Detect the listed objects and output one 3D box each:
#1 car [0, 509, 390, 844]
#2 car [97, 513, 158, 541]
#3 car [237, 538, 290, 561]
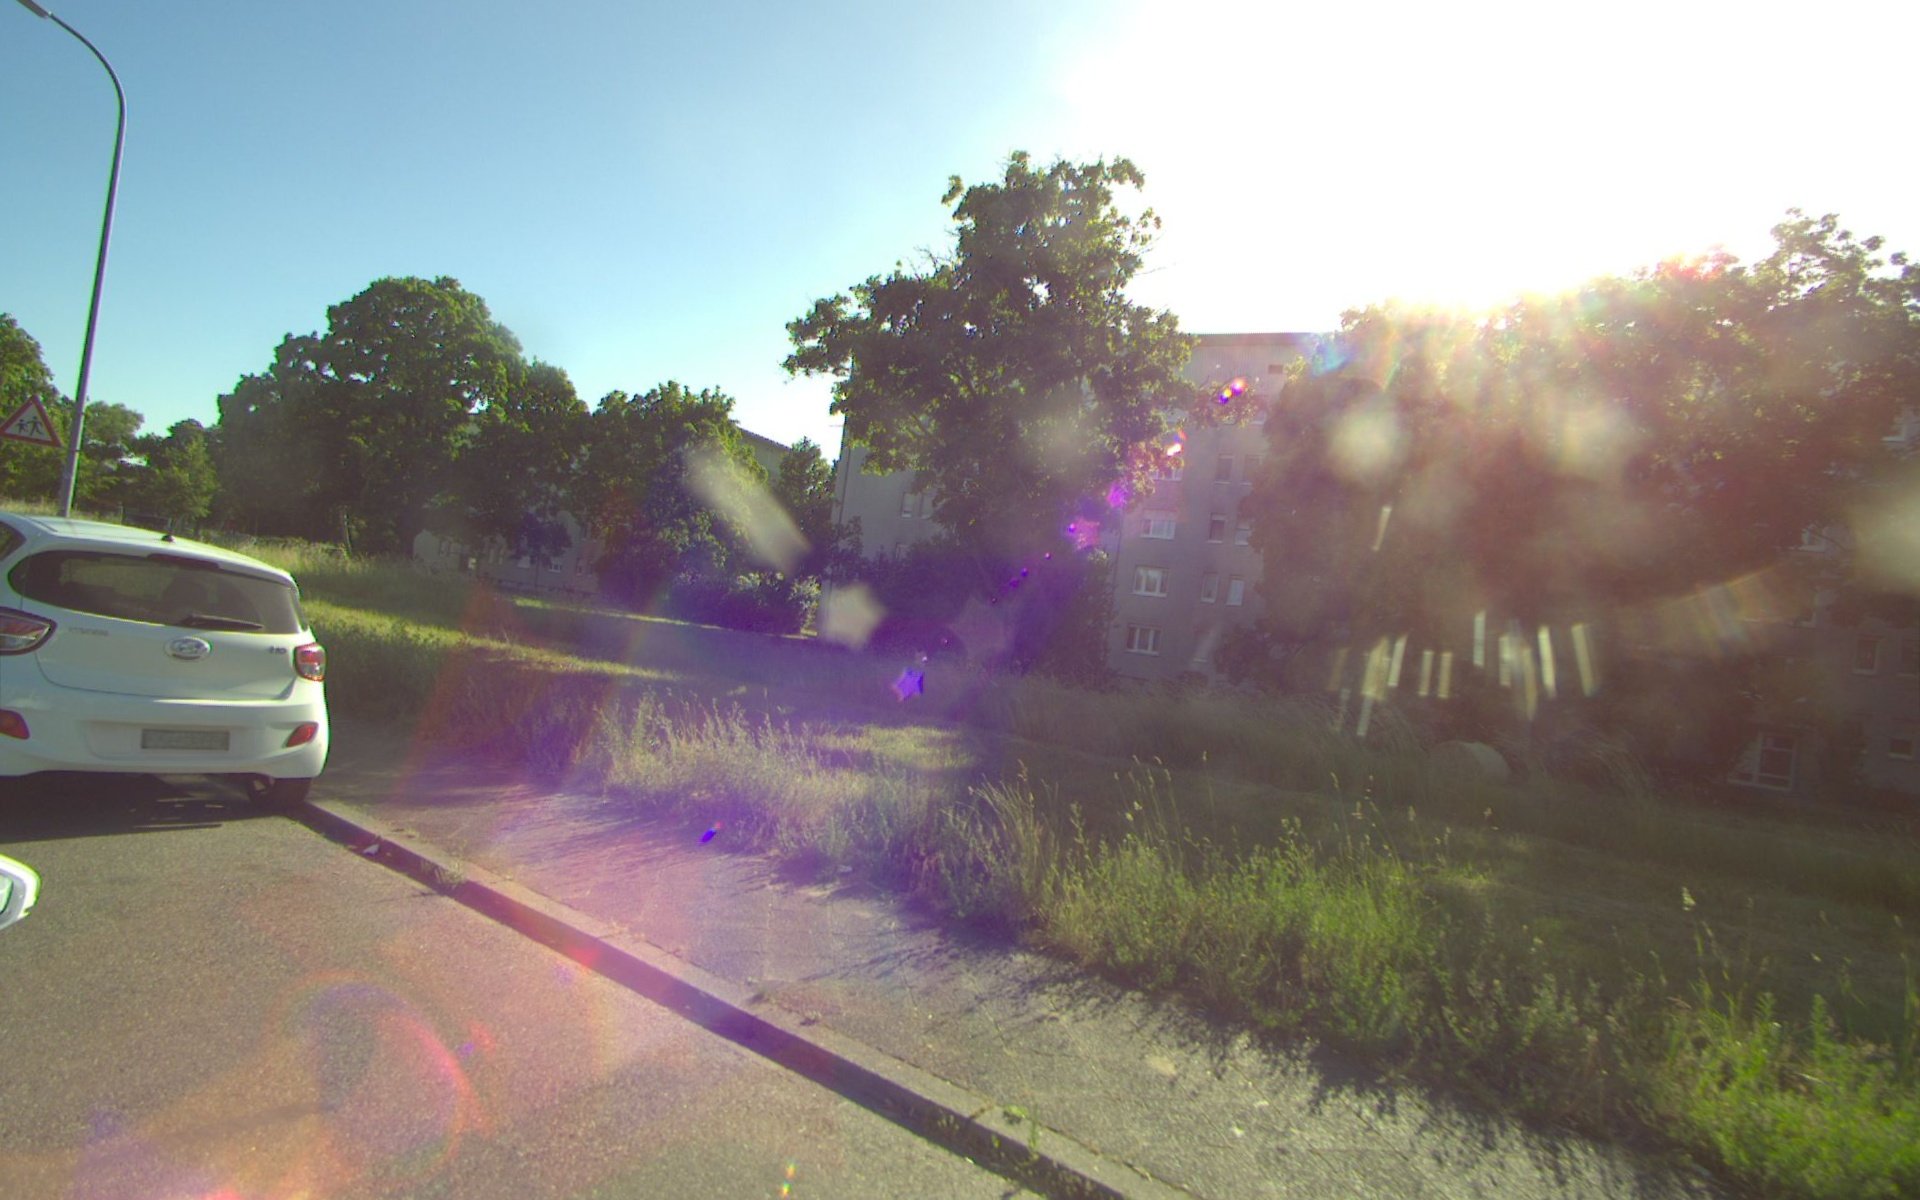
[{"bbox_3d":[-5.432,0.288,6.156,3.680,1.495,1.726,6,-4,33],"label":"car"},{"bbox_3d":[-67.703,-5.920,81.886,3.689,1.636,1.682,9,-4,-40],"label":"car"},{"bbox_3d":[-64.950,-4.697,93.837,1.678,1.636,3.697,4,-4,44],"label":"car"}]
